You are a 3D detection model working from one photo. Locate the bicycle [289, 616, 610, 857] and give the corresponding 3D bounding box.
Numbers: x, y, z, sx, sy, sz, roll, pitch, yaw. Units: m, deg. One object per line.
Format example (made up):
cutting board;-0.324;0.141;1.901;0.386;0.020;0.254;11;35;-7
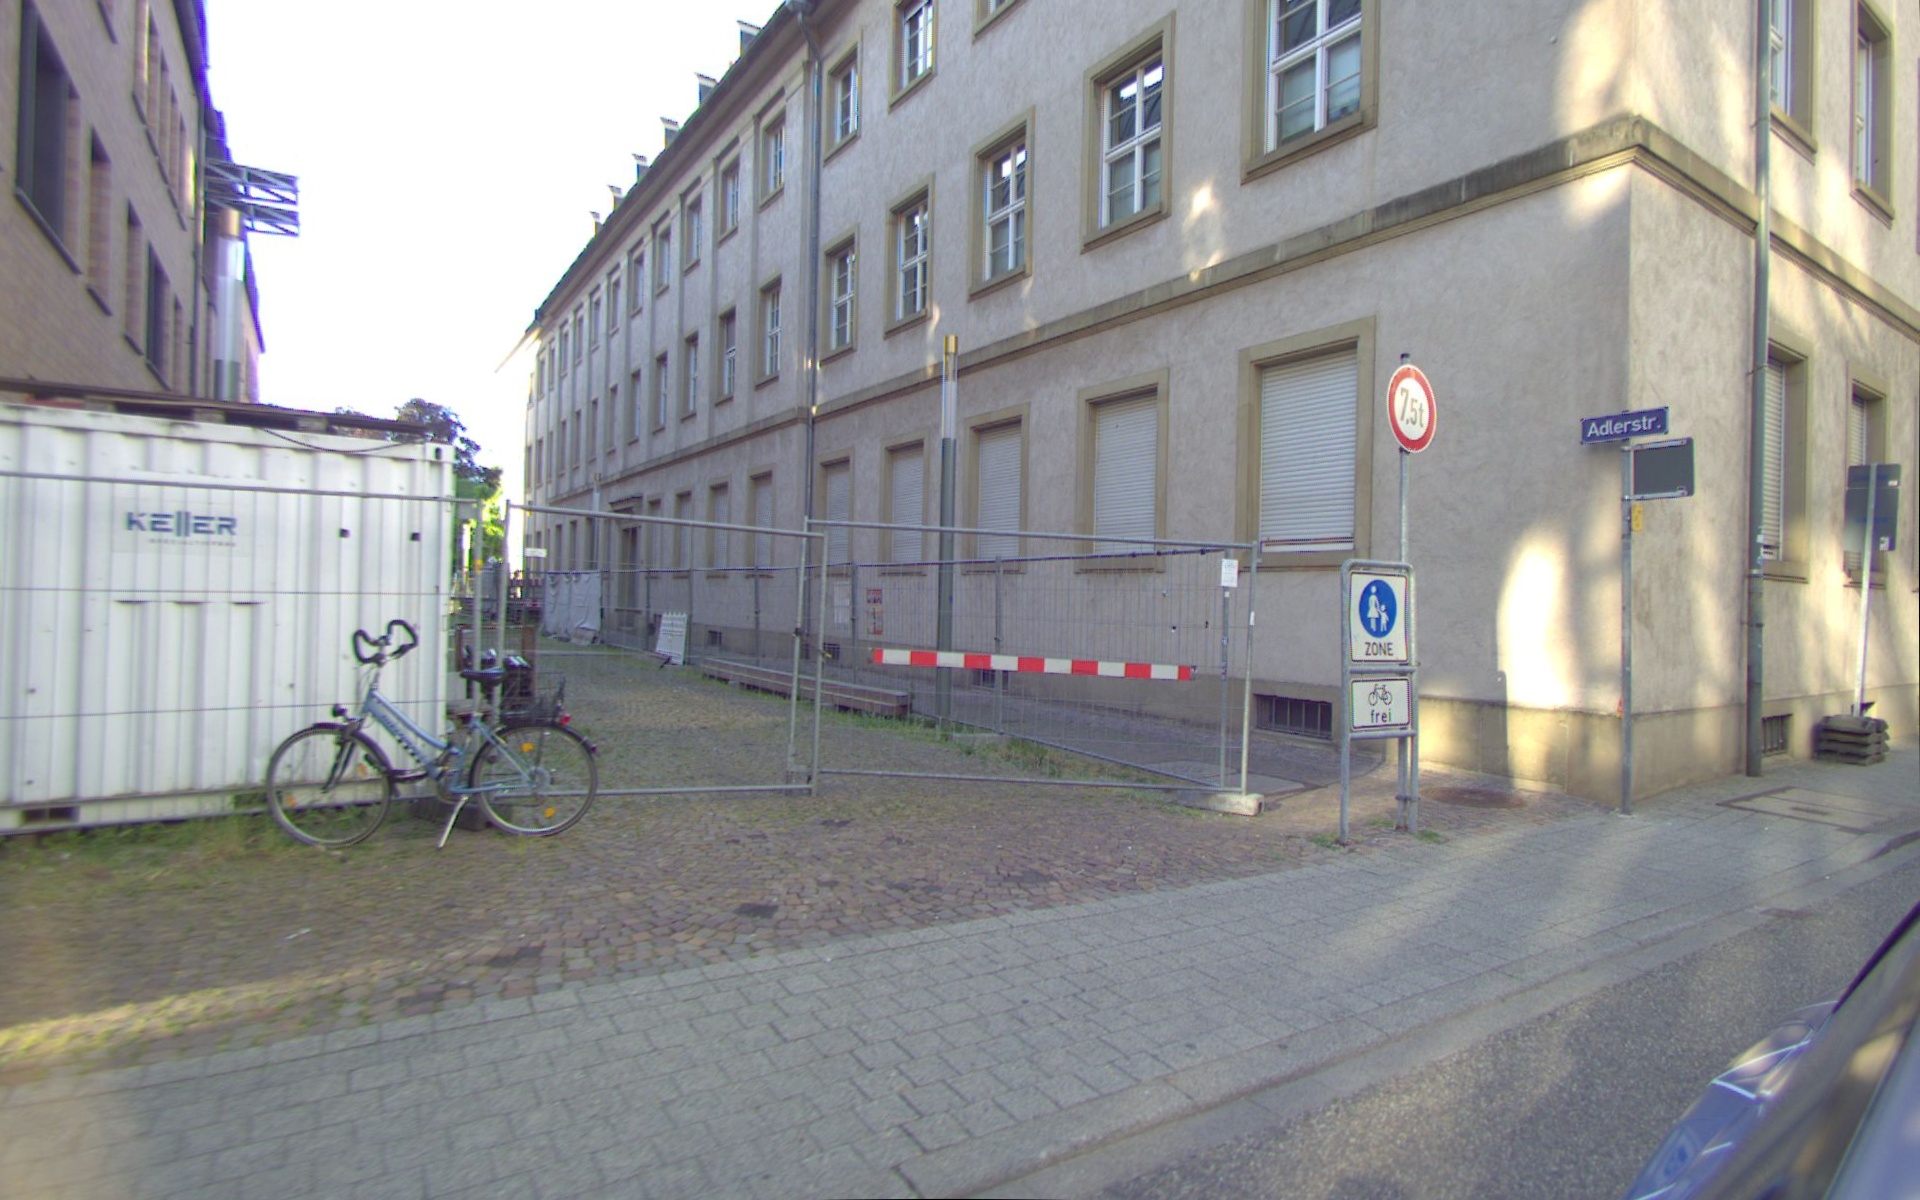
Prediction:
bicycle;-2.821;0.744;5.710;1.549;1.266;0.321;2;-1;-15
